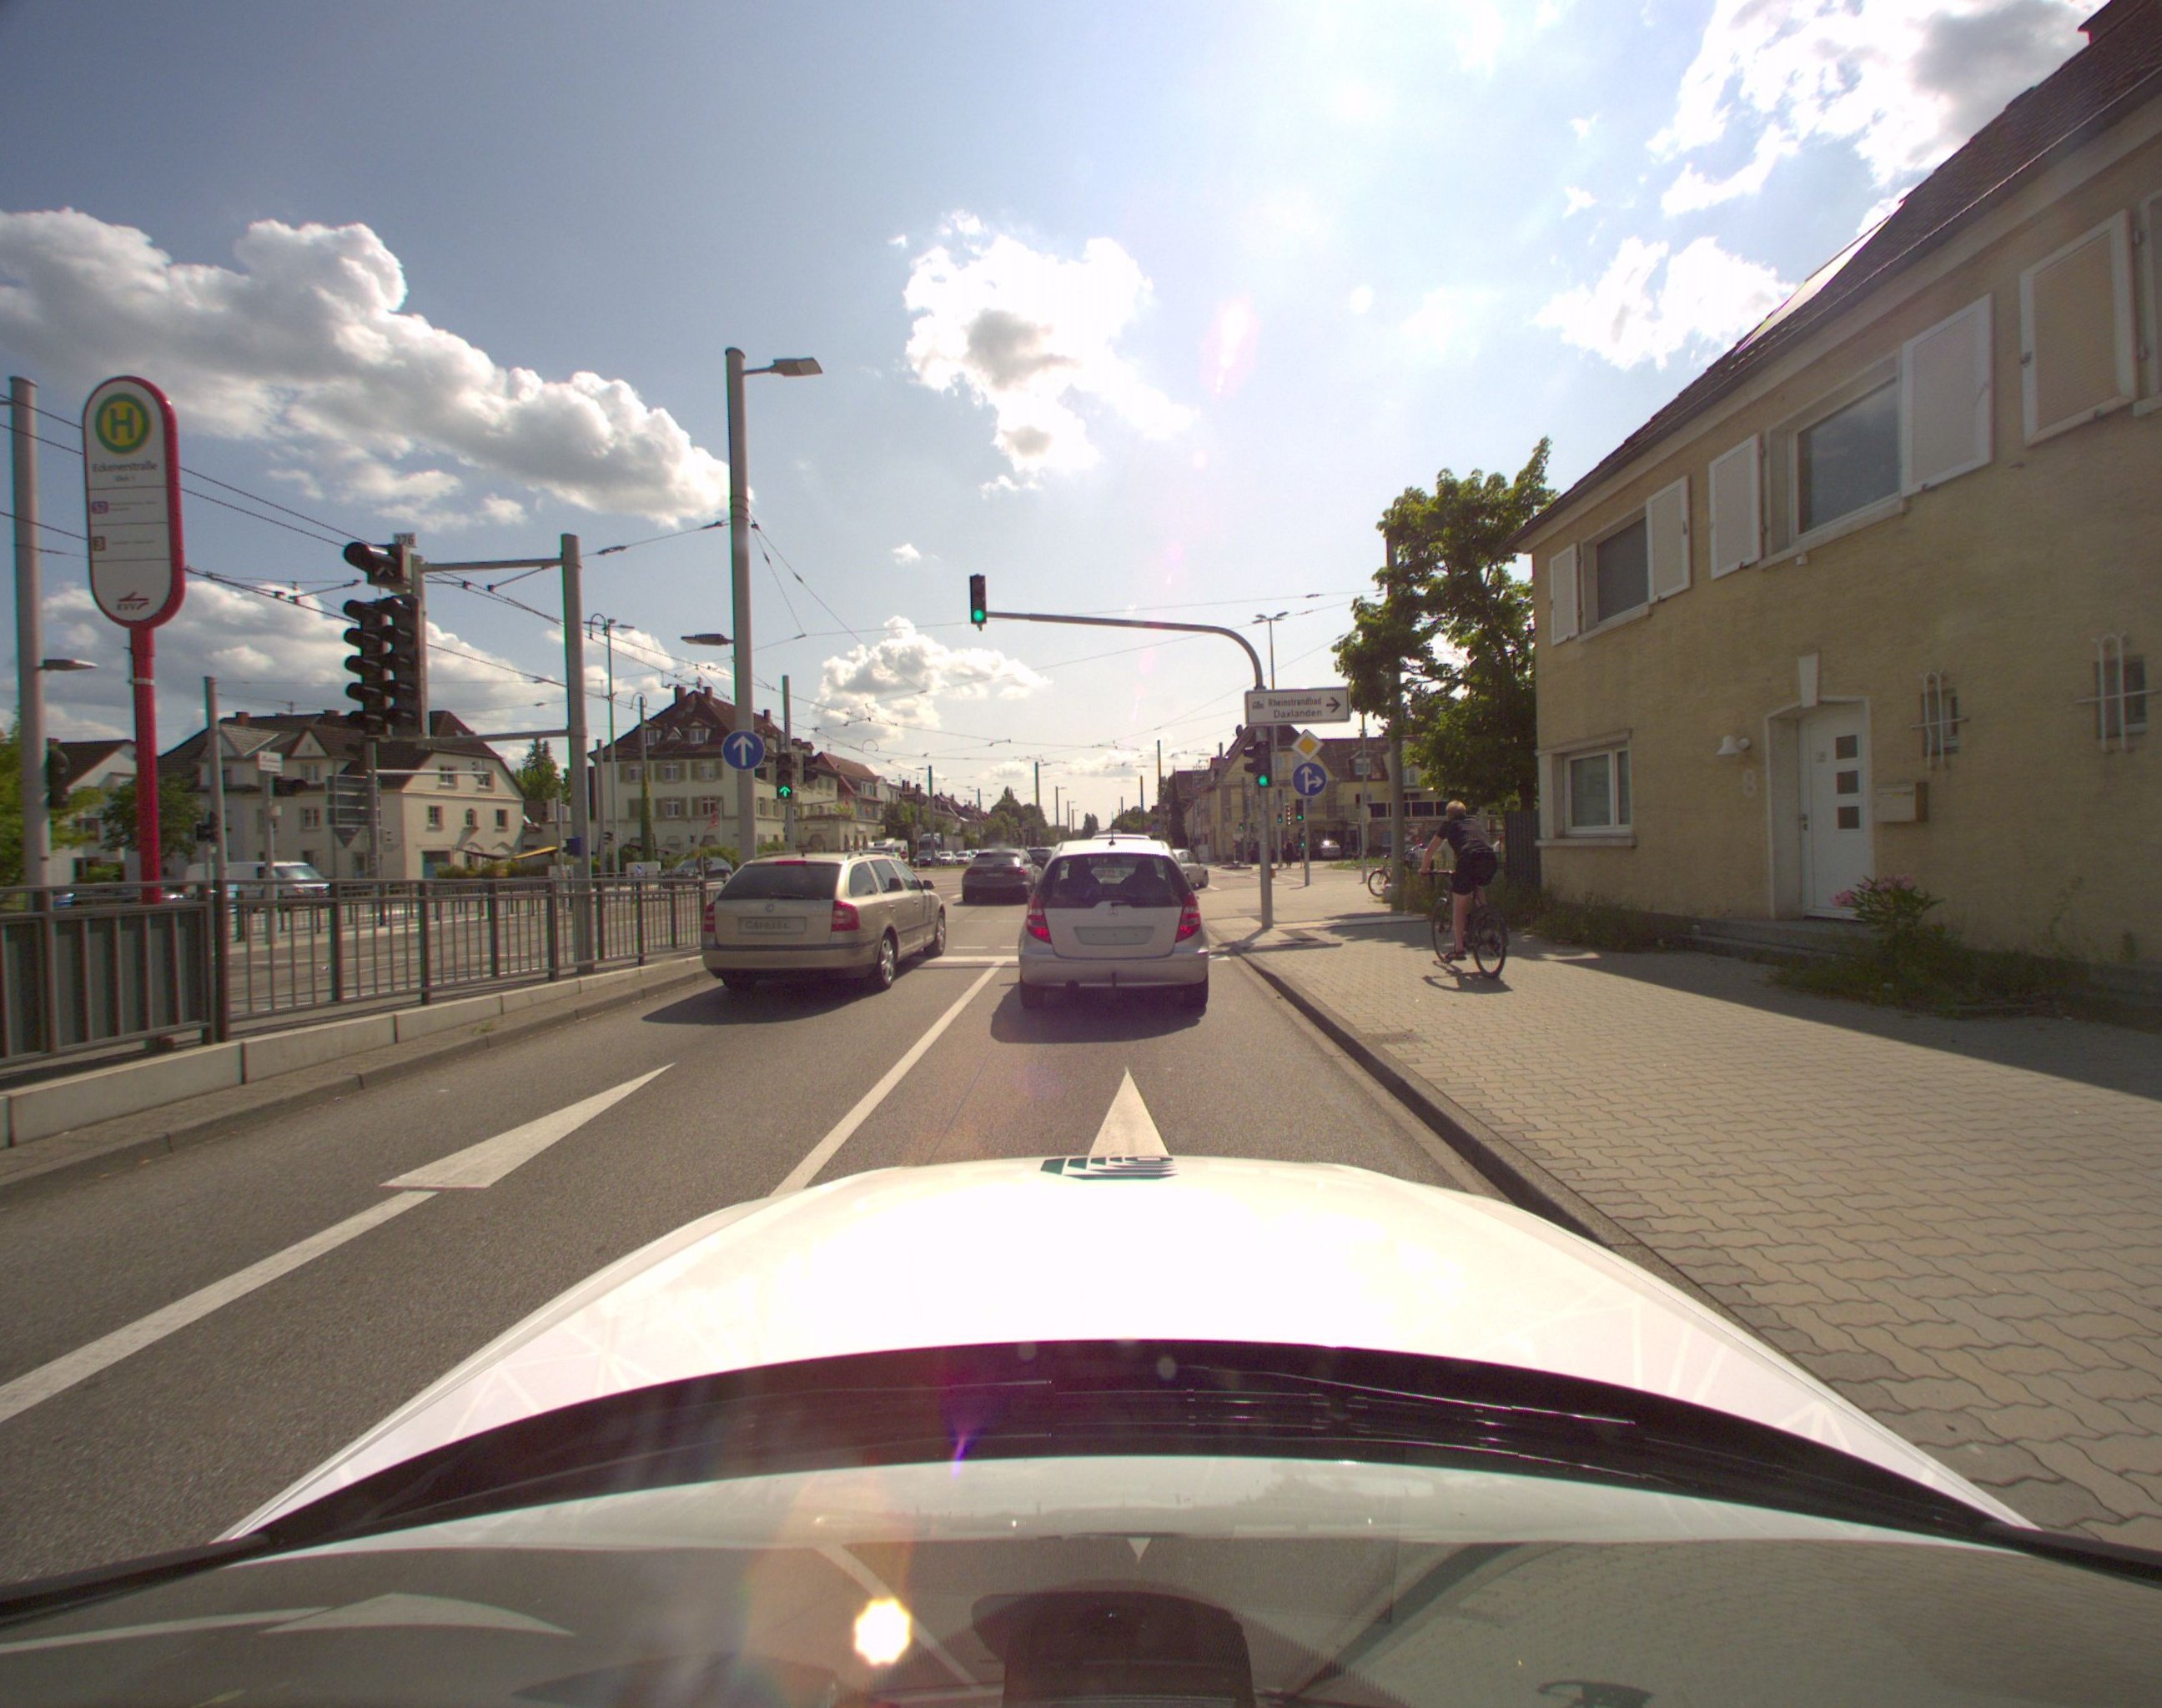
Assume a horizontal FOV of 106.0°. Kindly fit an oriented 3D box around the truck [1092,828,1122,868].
[{"bbox_3d":[1.677,-0.391,54.539,1.846,2.552,5.854,0,0,0],"label":"truck"}]

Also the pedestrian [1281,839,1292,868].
[{"bbox_3d":[11.608,-0.039,46.026,0.544,1.643,0.402,0,-1,6],"label":"pedestrian"}]

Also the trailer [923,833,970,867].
[{"bbox_3d":[-16.499,-0.609,101.180,2.587,3.821,12.852,-4,1,4],"label":"trailer"}]

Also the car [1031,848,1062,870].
[{"bbox_3d":[-2.226,0.323,53.359,1.846,1.388,3.918,0,0,0],"label":"car"}]

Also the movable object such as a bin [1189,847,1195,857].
[{"bbox_3d":[10.733,-0.148,78.474,0.466,0.946,0.558,-2,0,1],"label":"movable object such as a bin"}]

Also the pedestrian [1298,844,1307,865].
[{"bbox_3d":[12.487,0.025,45.905,0.485,1.136,0.390,0,0,9],"label":"pedestrian"}]

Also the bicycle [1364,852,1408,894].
[{"bbox_3d":[7.825,0.473,20.824,0.457,1.018,1.767,-1,0,41],"label":"bicycle"}]

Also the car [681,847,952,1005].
[{"bbox_3d":[-2.794,0.656,9.641,1.724,1.449,4.125,0,1,2],"label":"car"}]

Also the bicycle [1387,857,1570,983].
[{"bbox_3d":[4.016,0.607,8.442,0.826,1.075,1.969,-3,1,-2],"label":"bicycle"}]

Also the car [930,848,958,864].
[{"bbox_3d":[-14.445,0.213,86.158,1.986,1.552,4.180,-5,0,2],"label":"car"}]

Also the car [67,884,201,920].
[{"bbox_3d":[-44.600,2.243,38.427,4.145,1.552,2.002,-1,-1,4],"label":"car"}]

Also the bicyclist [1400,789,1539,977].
[{"bbox_3d":[4.001,0.277,8.484,0.826,1.793,1.083,-3,1,-3],"label":"bicyclist"}]

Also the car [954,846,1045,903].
[{"bbox_3d":[-2.224,0.528,23.462,1.908,1.477,4.566,0,0,3],"label":"car"}]

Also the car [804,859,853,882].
[{"bbox_3d":[-16.066,1.022,51.970,1.678,1.351,4.180,0,0,2],"label":"car"}]

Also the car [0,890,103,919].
[{"bbox_3d":[-61.609,3.026,48.673,3.971,1.596,2.001,0,0,2],"label":"car"}]

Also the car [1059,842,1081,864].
[{"bbox_3d":[-0.899,-0.039,70.480,1.846,1.843,3.918,0,0,0],"label":"car"}]

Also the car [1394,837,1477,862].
[{"bbox_3d":[21.501,-0.272,49.518,4.304,1.328,1.738,-3,0,-2],"label":"car"}]

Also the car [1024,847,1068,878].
[{"bbox_3d":[-1.605,0.385,38.367,1.846,1.388,4.514,0,0,0],"label":"car"}]

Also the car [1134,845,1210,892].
[{"bbox_3d":[3.215,0.443,28.177,1.715,1.403,4.037,0,2,20],"label":"car"}]

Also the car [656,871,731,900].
[{"bbox_3d":[-19.840,1.592,41.903,1.678,1.351,4.347,0,0,2],"label":"car"}]

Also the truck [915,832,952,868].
[{"bbox_3d":[-16.990,-0.500,94.345,2.587,3.821,5.674,-4,1,4],"label":"truck"}]

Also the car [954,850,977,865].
[{"bbox_3d":[-13.647,0.370,96.402,1.787,1.637,4.475,-3,0,4],"label":"car"}]

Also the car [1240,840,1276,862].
[{"bbox_3d":[13.384,-0.210,61.895,1.986,1.596,4.133,0,0,2],"label":"car"}]

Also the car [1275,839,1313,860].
[{"bbox_3d":[16.200,-0.324,62.087,1.986,1.596,4.133,0,0,2],"label":"car"}]

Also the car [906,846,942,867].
[{"bbox_3d":[-14.692,0.235,76.318,1.984,1.776,4.884,-3,0,4],"label":"car"}]

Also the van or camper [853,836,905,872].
[{"bbox_3d":[-18.091,-0.040,73.397,2.315,2.929,7.759,-2,0,2],"label":"van or camper"}]

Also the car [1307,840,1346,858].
[{"bbox_3d":[18.648,-0.358,62.098,1.860,1.351,4.133,0,0,2],"label":"car"}]

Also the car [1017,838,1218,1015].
[{"bbox_3d":[0.305,0.629,9.031,1.724,1.517,4.015,0,0,-1],"label":"car"}]

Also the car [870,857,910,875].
[{"bbox_3d":[-14.857,0.919,63.632,1.986,1.351,4.180,0,0,2],"label":"car"}]

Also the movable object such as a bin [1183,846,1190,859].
[{"bbox_3d":[9.438,-0.118,72.727,0.509,1.105,0.855,-1,0,2],"label":"movable object such as a bin"}]

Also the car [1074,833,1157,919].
[{"bbox_3d":[0.703,0.457,18.836,1.724,1.762,4.015,0,0,-1],"label":"car"}]

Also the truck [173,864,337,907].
[{"bbox_3d":[-38.352,1.450,37.869,6.157,1.921,1.692,0,0,4],"label":"truck"}]
